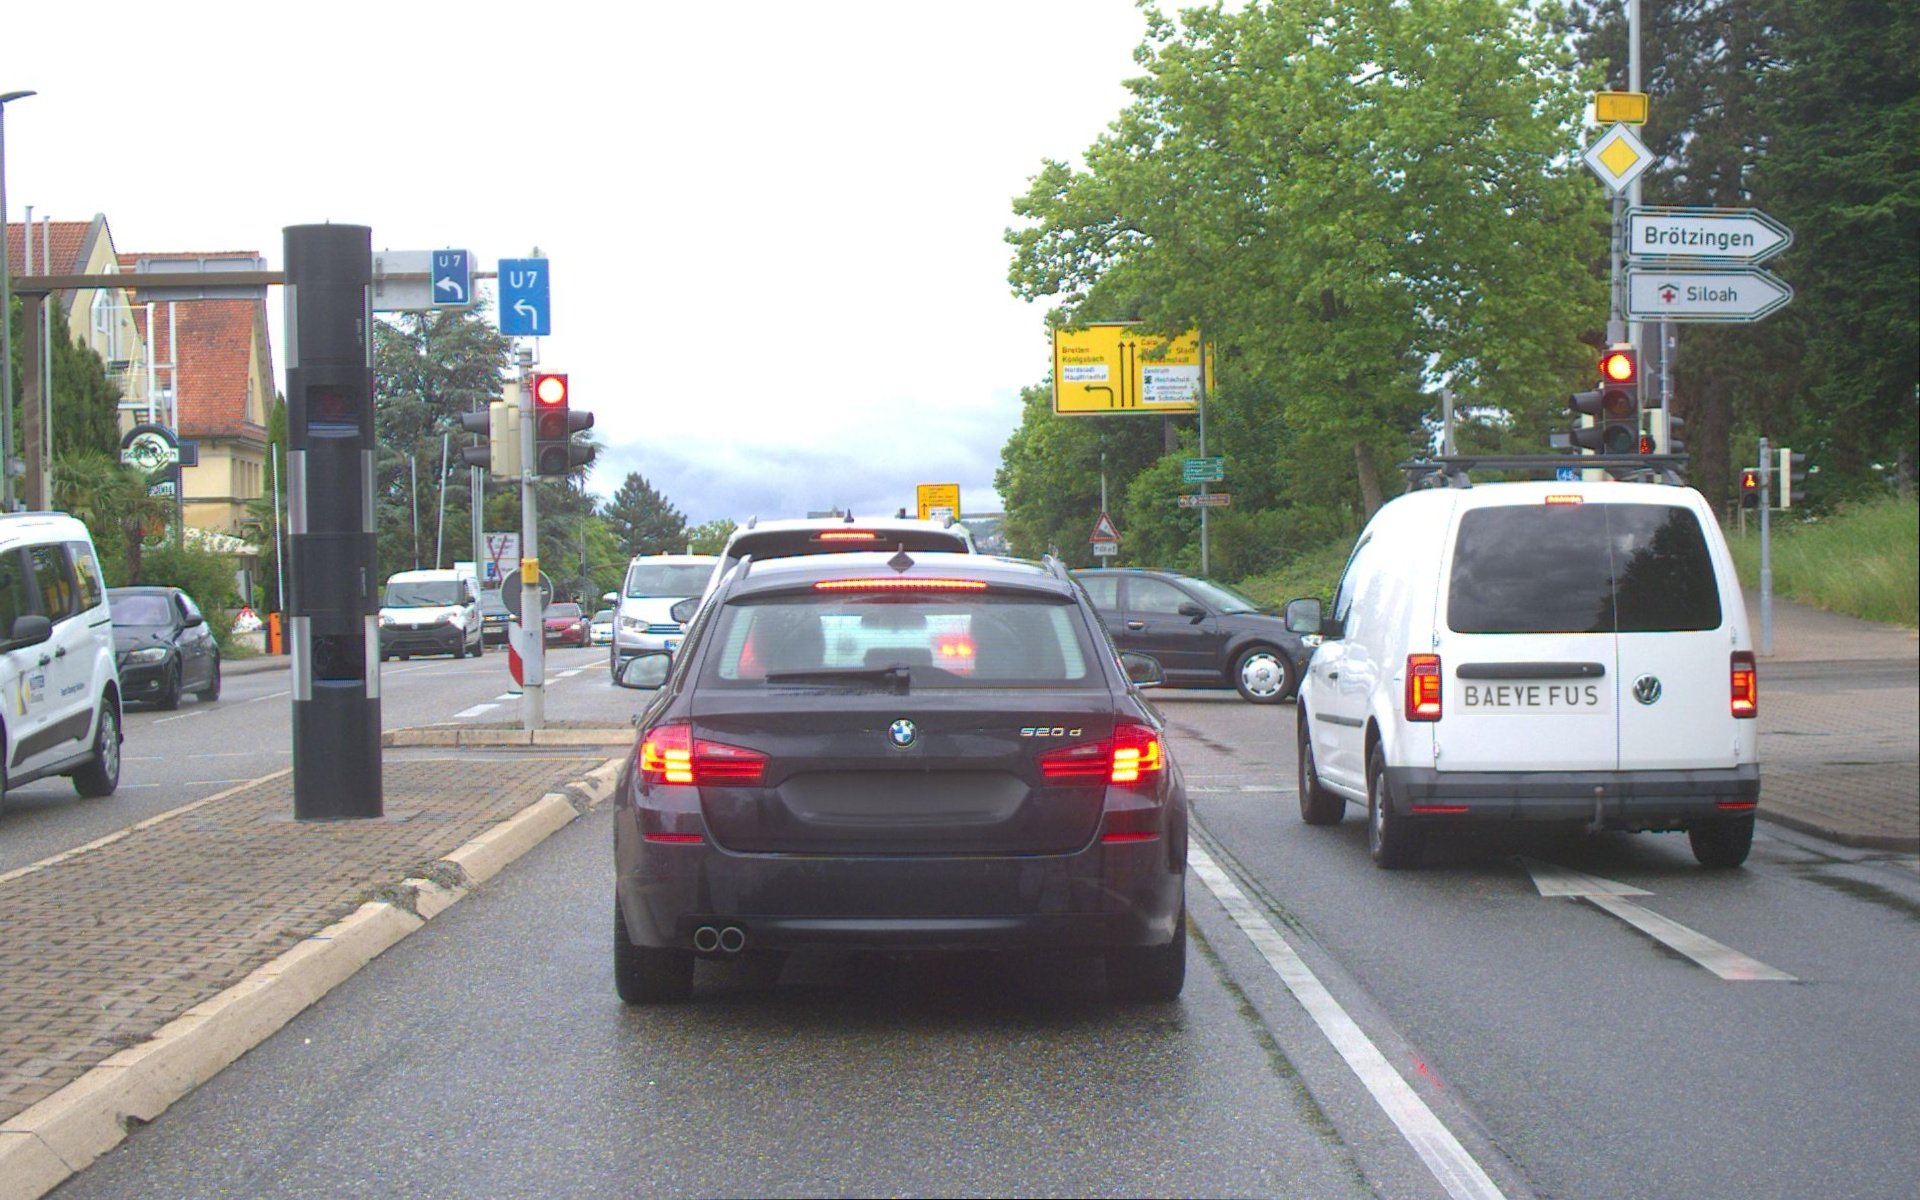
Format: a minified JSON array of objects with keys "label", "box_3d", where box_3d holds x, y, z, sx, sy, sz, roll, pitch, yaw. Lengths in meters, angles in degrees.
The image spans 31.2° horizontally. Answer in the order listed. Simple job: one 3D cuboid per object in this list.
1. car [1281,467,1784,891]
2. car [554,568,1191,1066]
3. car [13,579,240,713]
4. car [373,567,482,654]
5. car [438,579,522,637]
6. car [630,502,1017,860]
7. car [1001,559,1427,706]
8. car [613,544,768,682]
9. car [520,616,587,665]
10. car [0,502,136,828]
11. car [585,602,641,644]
[{"label":"car","box_3d":[2.714,0.326,17.155,1.741,1.863,3.946,0,1,-2]},{"label":"car","box_3d":[-0.185,0.613,12.030,1.855,1.414,3.956,0,1,2]},{"label":"car","box_3d":[-9.582,0.494,39.794,1.668,1.377,4.072,-1,1,-1]},{"label":"car","box_3d":[-10.792,0.191,69.852,1.668,1.664,3.683,-1,1,-1]},{"label":"car","box_3d":[-12.079,0.192,86.721,1.668,1.349,3.443,-1,1,-1]},{"label":"car","box_3d":[-0.628,0.353,18.135,1.728,1.705,3.382,0,1,3]},{"label":"car","box_3d":[2.679,0.330,36.096,4.088,1.451,1.899,0,1,21]},{"label":"car","box_3d":[-3.473,0.148,44.875,1.734,1.686,4.000,-1,1,-1]},{"label":"car","box_3d":[-12.426,1.222,105.201,1.668,1.349,3.443,-1,1,-1]},{"label":"car","box_3d":[-6.340,0.386,20.402,1.857,1.817,4.580,-3,1,-2]},{"label":"car","box_3d":[-12.368,0.814,122.674,1.668,1.349,3.443,-1,1,-1]}]
